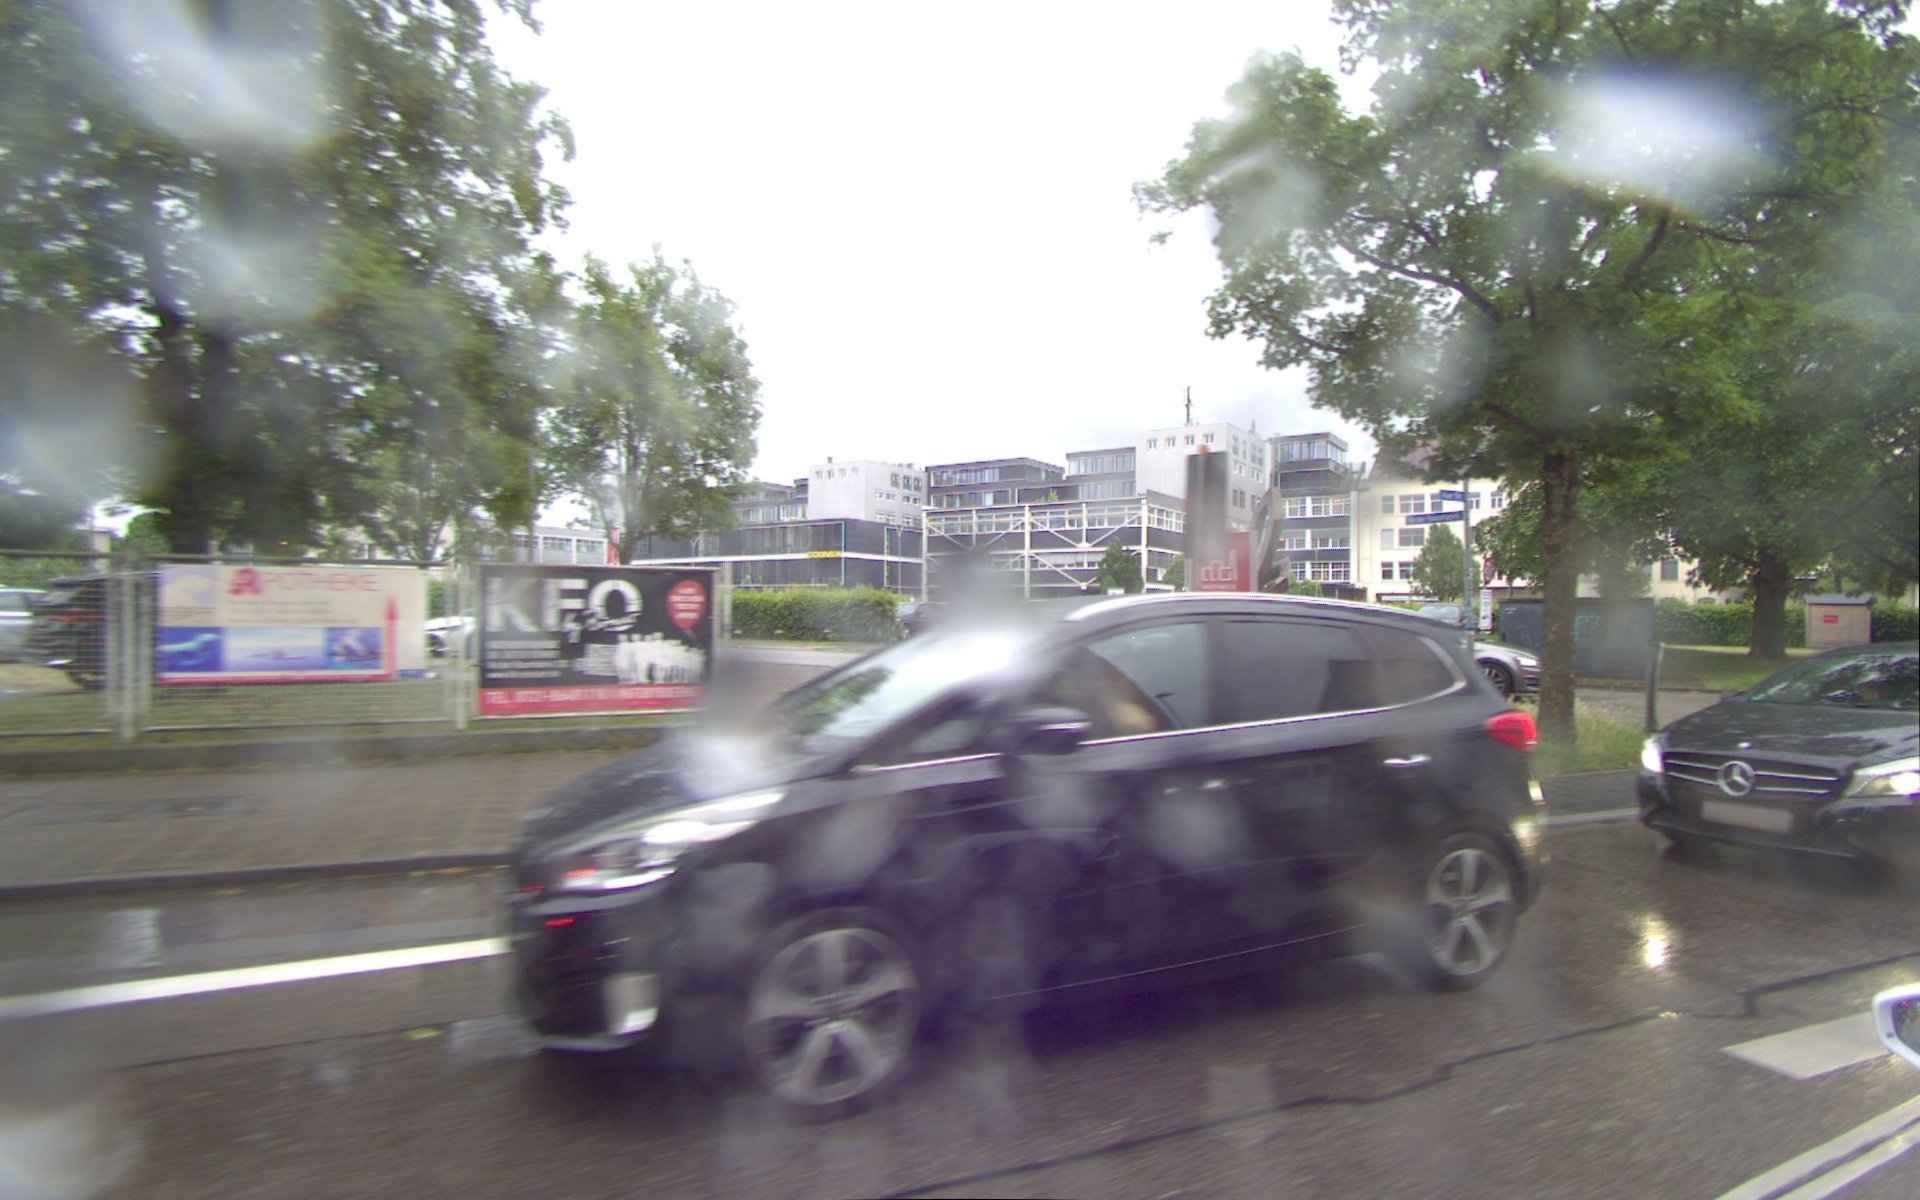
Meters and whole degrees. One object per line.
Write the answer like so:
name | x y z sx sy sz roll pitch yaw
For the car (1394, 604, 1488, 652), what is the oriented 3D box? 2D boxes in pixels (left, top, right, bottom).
car | 16.640 0.938 34.628 1.969 1.547 4.414 0 -1 39

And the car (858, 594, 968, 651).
car | -1.858 0.899 41.289 1.966 2.180 4.959 0 -1 34

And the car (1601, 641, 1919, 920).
car | 6.595 0.993 6.772 4.275 1.379 1.723 0 -2 -23

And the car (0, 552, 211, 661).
car | -18.174 0.137 20.156 1.965 2.040 4.667 0 -1 31

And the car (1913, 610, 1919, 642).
car | 47.411 1.235 47.732 1.963 1.578 3.996 0 -2 27

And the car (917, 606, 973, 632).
car | -1.183 1.515 81.093 1.969 2.040 4.833 0 -1 38

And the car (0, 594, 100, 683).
car | -20.606 0.796 20.757 1.968 1.816 3.985 -1 0 37

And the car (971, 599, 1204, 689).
car | 2.679 0.867 21.629 4.573 1.729 2.039 0 -1 36

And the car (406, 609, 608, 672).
car | -10.885 0.943 24.439 1.596 1.397 4.296 -1 -1 34

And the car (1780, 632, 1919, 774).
car | 11.128 1.092 10.211 2.044 1.473 4.932 0 -1 8

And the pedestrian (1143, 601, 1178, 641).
pedestrian | 9.685 1.013 48.488 1.472 1.864 1.055 0 0 -44

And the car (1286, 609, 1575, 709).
car | 8.149 0.934 17.540 4.269 1.414 2.006 2 0 36

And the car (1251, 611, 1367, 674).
car | 9.335 1.060 26.635 1.761 1.529 4.285 -1 -1 36

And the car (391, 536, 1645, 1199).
car | 0.447 0.778 4.269 4.735 1.640 1.863 3 -2 -24
